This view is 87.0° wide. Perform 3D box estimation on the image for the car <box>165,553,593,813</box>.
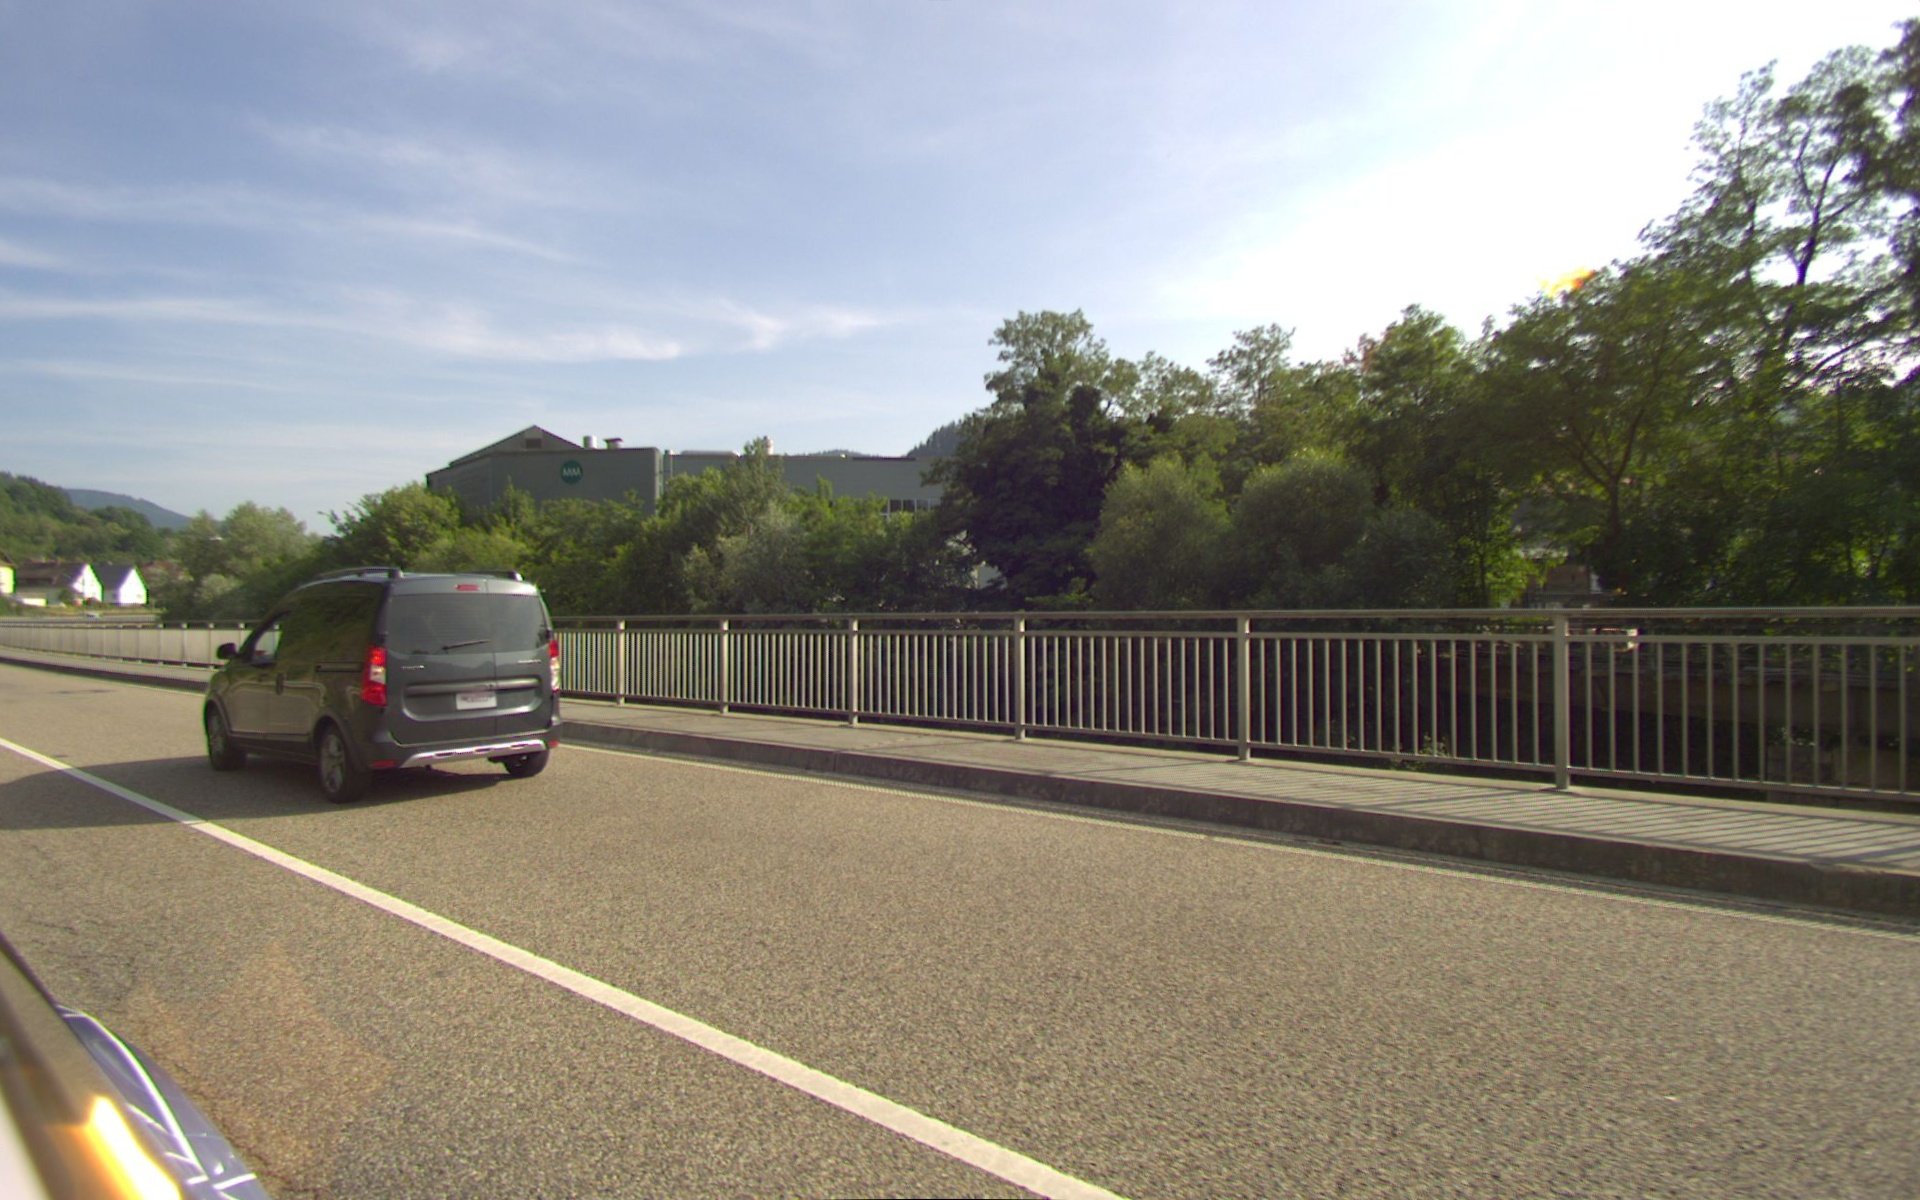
[{"bbox_3d":[-5.539,0.627,9.358,4.822,1.842,1.774,-1,-1,38],"label":"car"}]
